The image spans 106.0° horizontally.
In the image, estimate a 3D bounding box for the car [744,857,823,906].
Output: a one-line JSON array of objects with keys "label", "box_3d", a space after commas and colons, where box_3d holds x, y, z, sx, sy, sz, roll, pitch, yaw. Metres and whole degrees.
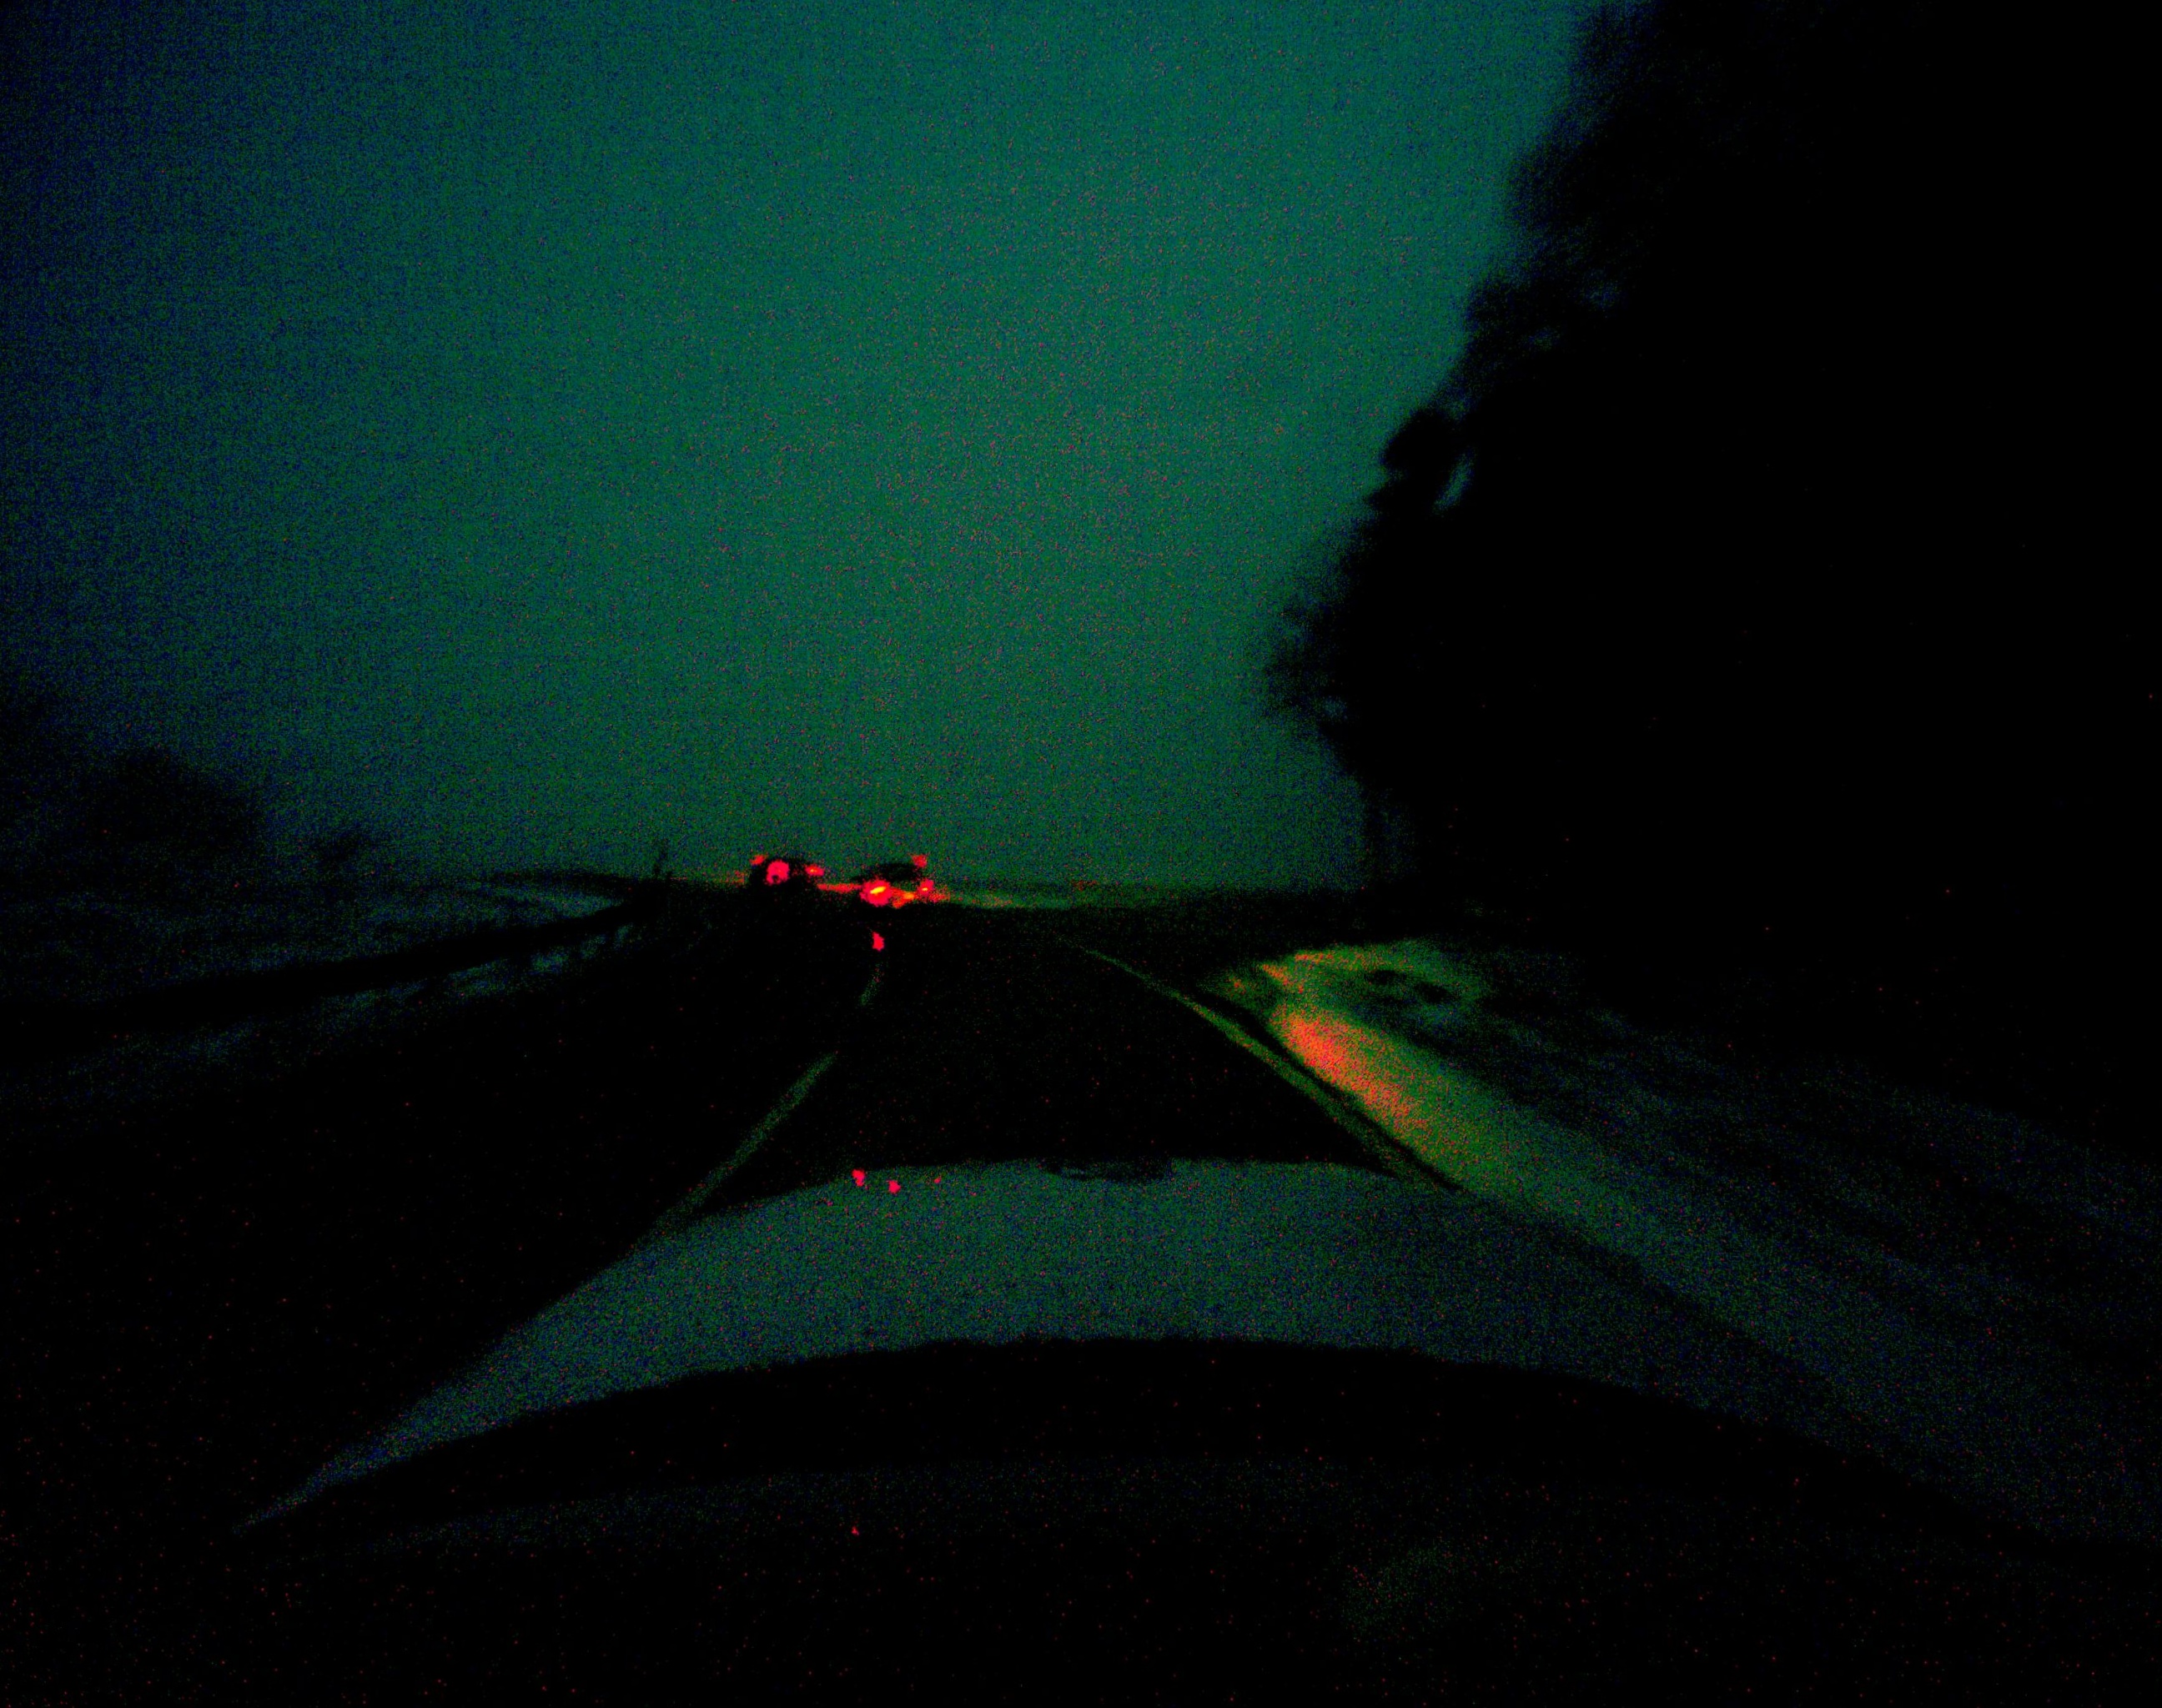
[{"label": "car", "box_3d": [-12.092, 1.081, 32.982, 2.008, 1.783, 3.957, -2, 0, -35]}]

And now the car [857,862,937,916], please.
[{"label": "car", "box_3d": [-5.414, 0.940, 23.649, 1.951, 1.381, 3.976, -1, 0, -17]}]
